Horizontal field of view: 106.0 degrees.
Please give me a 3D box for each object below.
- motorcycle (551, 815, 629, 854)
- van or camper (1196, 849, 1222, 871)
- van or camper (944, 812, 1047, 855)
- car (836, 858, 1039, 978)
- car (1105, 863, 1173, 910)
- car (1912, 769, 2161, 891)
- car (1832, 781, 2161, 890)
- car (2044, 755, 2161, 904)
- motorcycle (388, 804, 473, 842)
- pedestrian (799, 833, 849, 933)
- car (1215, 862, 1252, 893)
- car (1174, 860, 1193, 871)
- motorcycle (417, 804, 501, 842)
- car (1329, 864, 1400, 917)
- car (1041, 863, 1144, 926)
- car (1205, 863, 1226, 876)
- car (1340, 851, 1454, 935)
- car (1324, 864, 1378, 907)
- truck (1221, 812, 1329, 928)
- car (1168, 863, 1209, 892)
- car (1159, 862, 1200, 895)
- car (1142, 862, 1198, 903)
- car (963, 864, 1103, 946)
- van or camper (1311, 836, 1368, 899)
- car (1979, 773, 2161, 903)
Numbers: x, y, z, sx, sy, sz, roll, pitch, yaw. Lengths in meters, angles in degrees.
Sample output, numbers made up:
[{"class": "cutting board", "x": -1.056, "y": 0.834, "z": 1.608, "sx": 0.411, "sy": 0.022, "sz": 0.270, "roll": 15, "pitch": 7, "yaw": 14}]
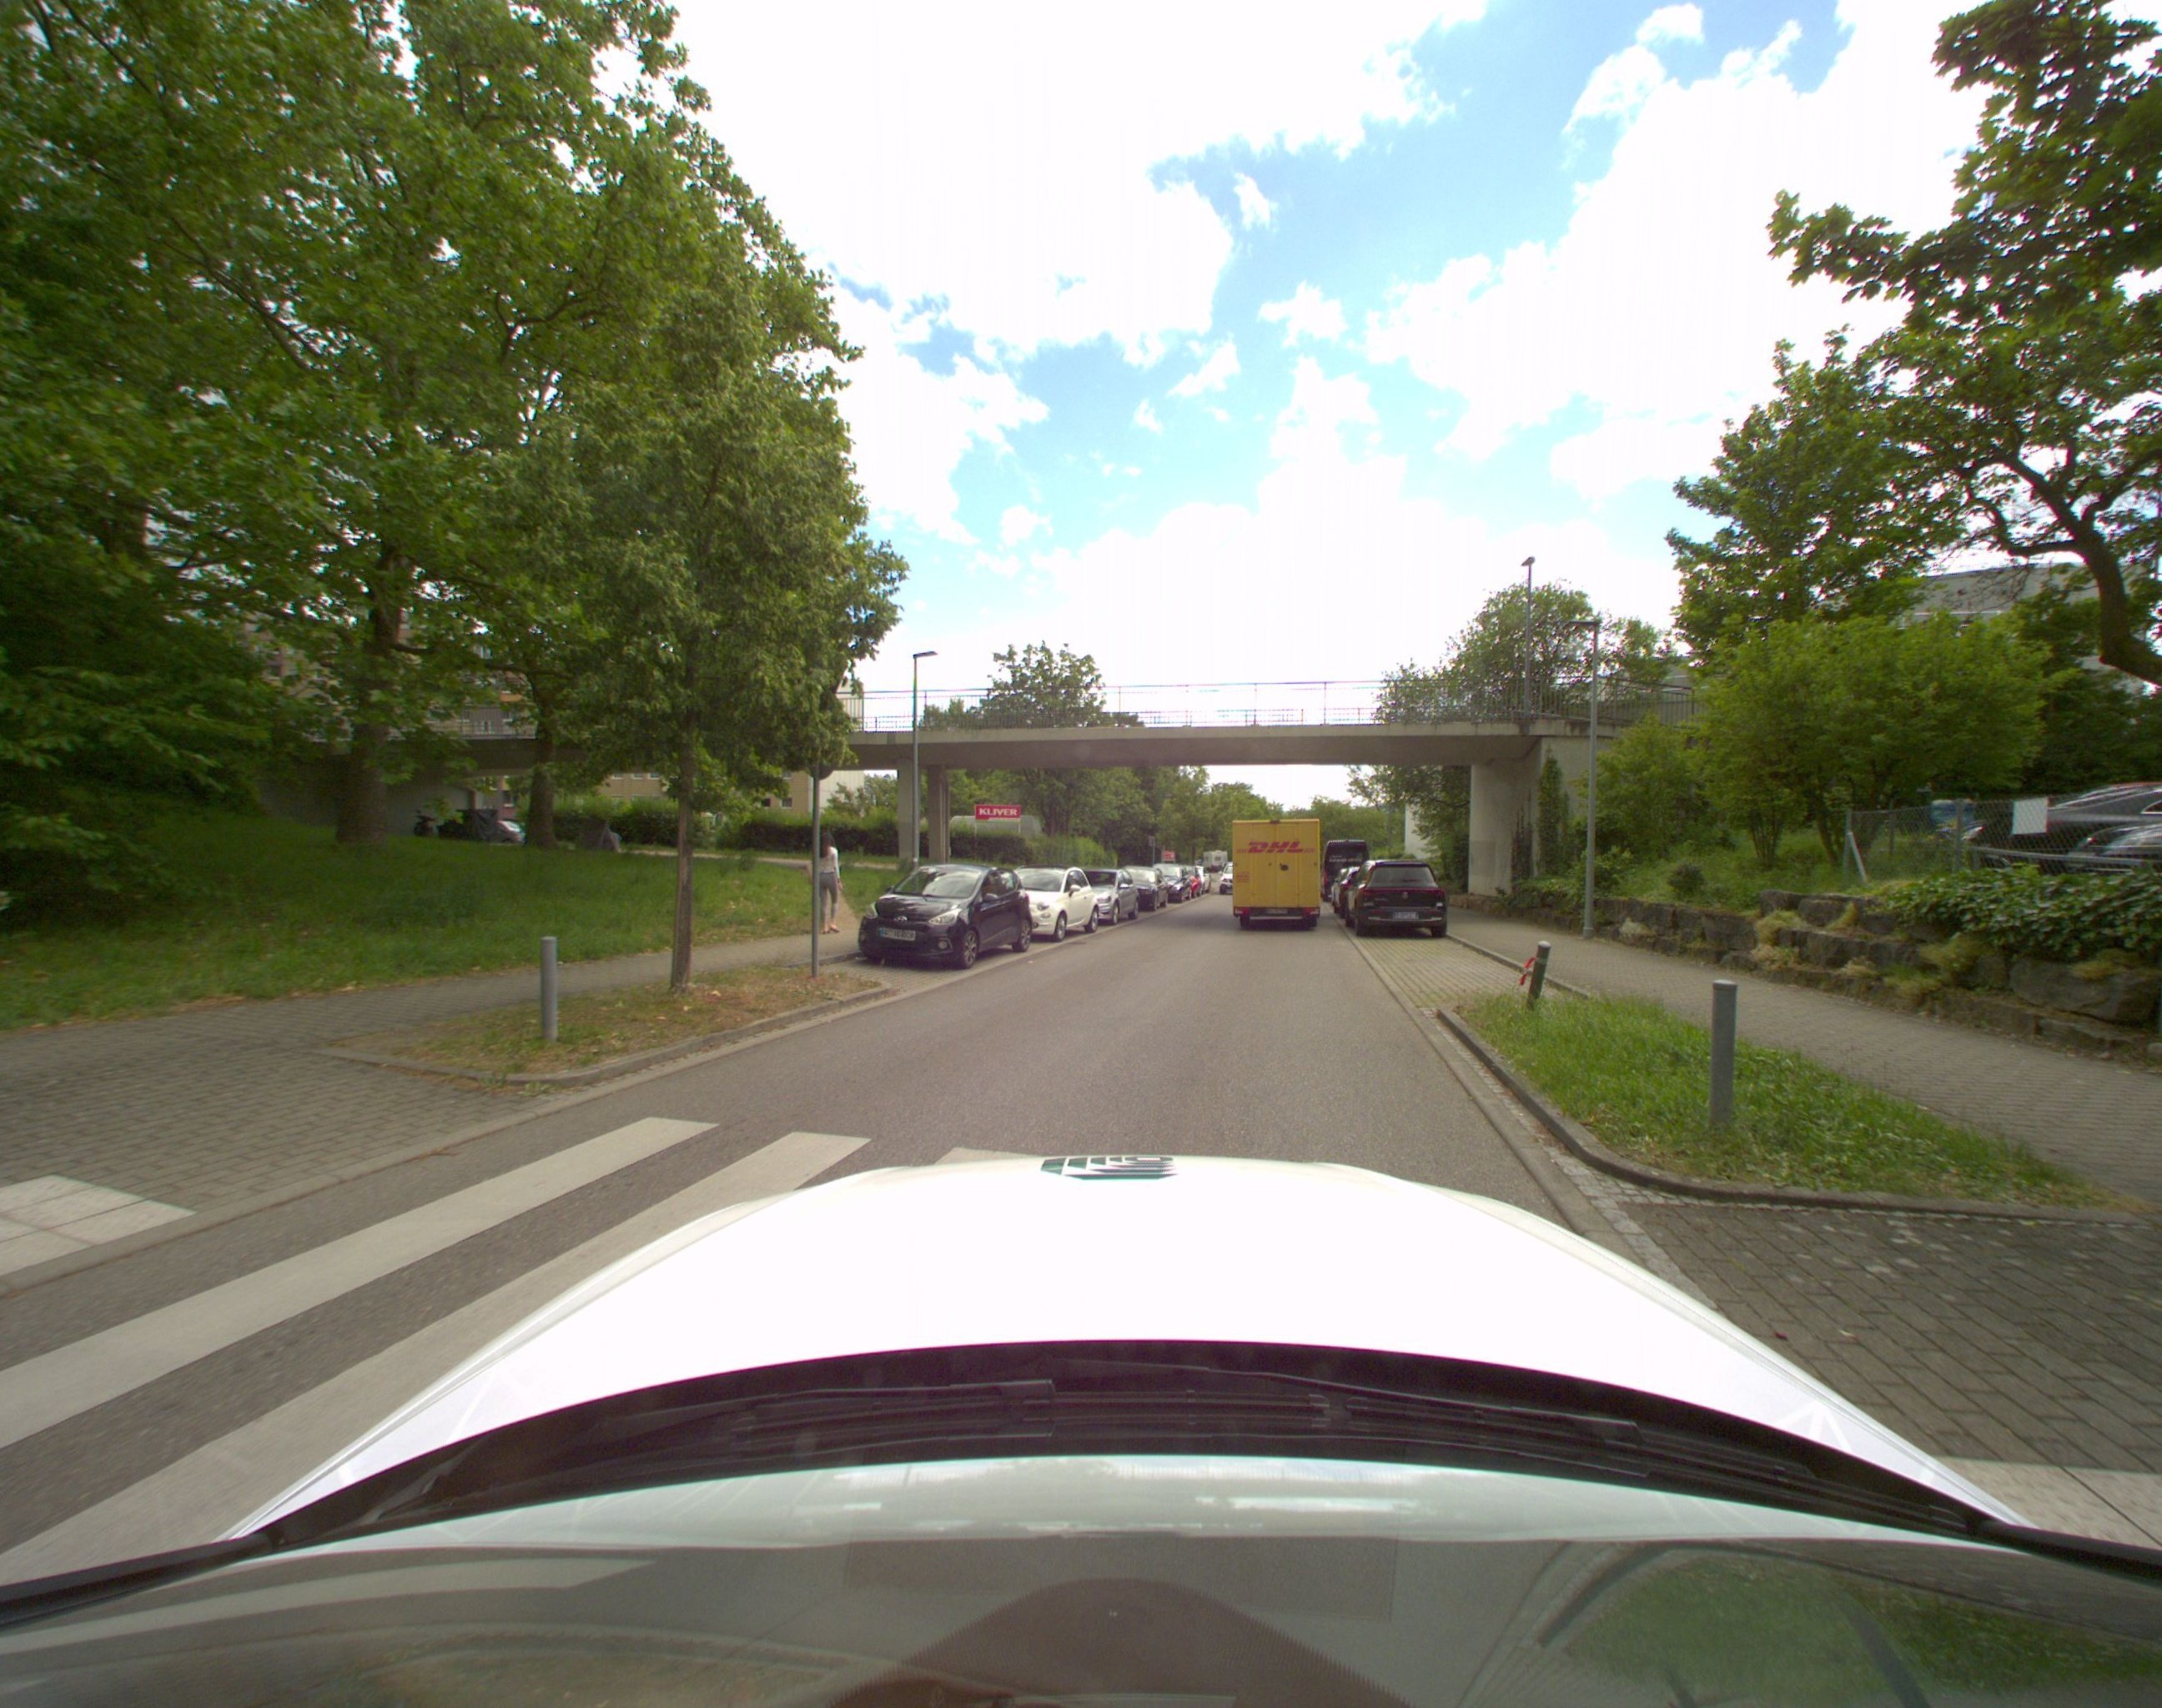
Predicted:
[{"class": "motorcycle", "x": -16.665, "y": -0.653, "z": 27.687, "sx": 0.875, "sy": 1.270, "sz": 2.059, "roll": 1, "pitch": 1, "yaw": 32}, {"class": "van or camper", "x": 17.673, "y": 0.822, "z": 112.704, "sx": 2.319, "sy": 2.872, "sz": 5.252, "roll": 1, "pitch": 0, "yaw": -4}, {"class": "van or camper", "x": -4.377, "y": -1.074, "z": 42.008, "sx": 4.825, "sy": 2.086, "sz": 2.005, "roll": 1, "pitch": 1, "yaw": 9}, {"class": "car", "x": -2.071, "y": 0.863, "z": 13.027, "sx": 1.774, "sy": 1.468, "sz": 4.013, "roll": 3, "pitch": 1, "yaw": 12}, {"class": "car", "x": 2.176, "y": 1.112, "z": 29.203, "sx": 1.873, "sy": 1.509, "sz": 4.465, "roll": 1, "pitch": 0, "yaw": 11}, {"class": "car", "x": 14.828, "y": -0.315, "z": 11.535, "sx": 3.949, "sy": 1.613, "sz": 1.957, "roll": 2, "pitch": 1, "yaw": 34}, {"class": "car", "x": 16.145, "y": -0.317, "z": 13.989, "sx": 4.500, "sy": 1.668, "sz": 1.957, "roll": 2, "pitch": 1, "yaw": 34}, {"class": "car", "x": 12.112, "y": -0.197, "z": 7.575, "sx": 3.751, "sy": 1.421, "sz": 1.695, "roll": 2, "pitch": 1, "yaw": 36}, {"class": "motorcycle", "x": -22.857, "y": -1.076, "z": 28.692, "sx": 0.878, "sy": 1.270, "sz": 2.323, "roll": 1, "pitch": 1, "yaw": 10}, {"class": "pedestrian", "x": -4.603, "y": 0.503, "z": 14.564, "sx": 0.741, "sy": 1.721, "sz": 0.654, "roll": 1, "pitch": 1, "yaw": -27}, {"class": "car", "x": 8.447, "y": 1.234, "z": 44.802, "sx": 1.735, "sy": 1.611, "sz": 4.067, "roll": 0, "pitch": -1, "yaw": 14}, {"class": "car", "x": 15.706, "y": 1.706, "z": 124.924, "sx": 1.844, "sy": 1.530, "sz": 3.985, "roll": 1, "pitch": 1, "yaw": -11}, {"class": "motorcycle", "x": -21.778, "y": -1.053, "z": 28.582, "sx": 0.878, "sy": 1.270, "sz": 2.323, "roll": 1, "pitch": 1, "yaw": 10}, {"class": "car", "x": 8.637, "y": 1.064, "z": 25.071, "sx": 1.687, "sy": 1.497, "sz": 4.133, "roll": 0, "pitch": -1, "yaw": 14}, {"class": "car", "x": 0.421, "y": 1.027, "z": 22.293, "sx": 1.871, "sy": 1.427, "sz": 4.016, "roll": 1, "pitch": 1, "yaw": 15}, {"class": "car", "x": 17.434, "y": 2.038, "z": 105.492, "sx": 1.839, "sy": 1.530, "sz": 3.996, "roll": 1, "pitch": 1, "yaw": -3}, {"class": "car", "x": 7.060, "y": 0.848, "z": 18.618, "sx": 1.801, "sy": 1.678, "sz": 4.385, "roll": 0, "pitch": -2, "yaw": 13}, {"class": "car", "x": 9.985, "y": 1.127, "z": 30.303, "sx": 1.552, "sy": 1.496, "sz": 3.342, "roll": -1, "pitch": -1, "yaw": 12}, {"class": "truck", "x": 5.379, "y": 0.430, "z": 22.640, "sx": 2.449, "sy": 2.702, "sz": 6.849, "roll": -1, "pitch": -1, "yaw": 13}, {"class": "car", "x": 5.799, "y": 1.243, "z": 43.623, "sx": 1.662, "sy": 1.436, "sz": 3.984, "roll": 1, "pitch": -1, "yaw": 14}, {"class": "car", "x": 4.772, "y": 1.161, "z": 39.076, "sx": 1.517, "sy": 1.506, "sz": 2.724, "roll": 1, "pitch": -1, "yaw": 15}, {"class": "car", "x": 3.863, "y": 1.176, "z": 34.833, "sx": 1.872, "sy": 1.559, "sz": 3.851, "roll": 3, "pitch": 0, "yaw": 13}, {"class": "car", "x": -0.898, "y": 0.984, "z": 17.334, "sx": 1.871, "sy": 1.460, "sz": 3.560, "roll": 2, "pitch": 0, "yaw": 15}, {"class": "van or camper", "x": 11.292, "y": 0.611, "z": 35.887, "sx": 1.979, "sy": 2.523, "sz": 5.491, "roll": -2, "pitch": -2, "yaw": 14}, {"class": "car", "x": 13.534, "y": -0.164, "z": 9.637, "sx": 3.615, "sy": 1.498, "sz": 1.695, "roll": 2, "pitch": 1, "yaw": 36}]
